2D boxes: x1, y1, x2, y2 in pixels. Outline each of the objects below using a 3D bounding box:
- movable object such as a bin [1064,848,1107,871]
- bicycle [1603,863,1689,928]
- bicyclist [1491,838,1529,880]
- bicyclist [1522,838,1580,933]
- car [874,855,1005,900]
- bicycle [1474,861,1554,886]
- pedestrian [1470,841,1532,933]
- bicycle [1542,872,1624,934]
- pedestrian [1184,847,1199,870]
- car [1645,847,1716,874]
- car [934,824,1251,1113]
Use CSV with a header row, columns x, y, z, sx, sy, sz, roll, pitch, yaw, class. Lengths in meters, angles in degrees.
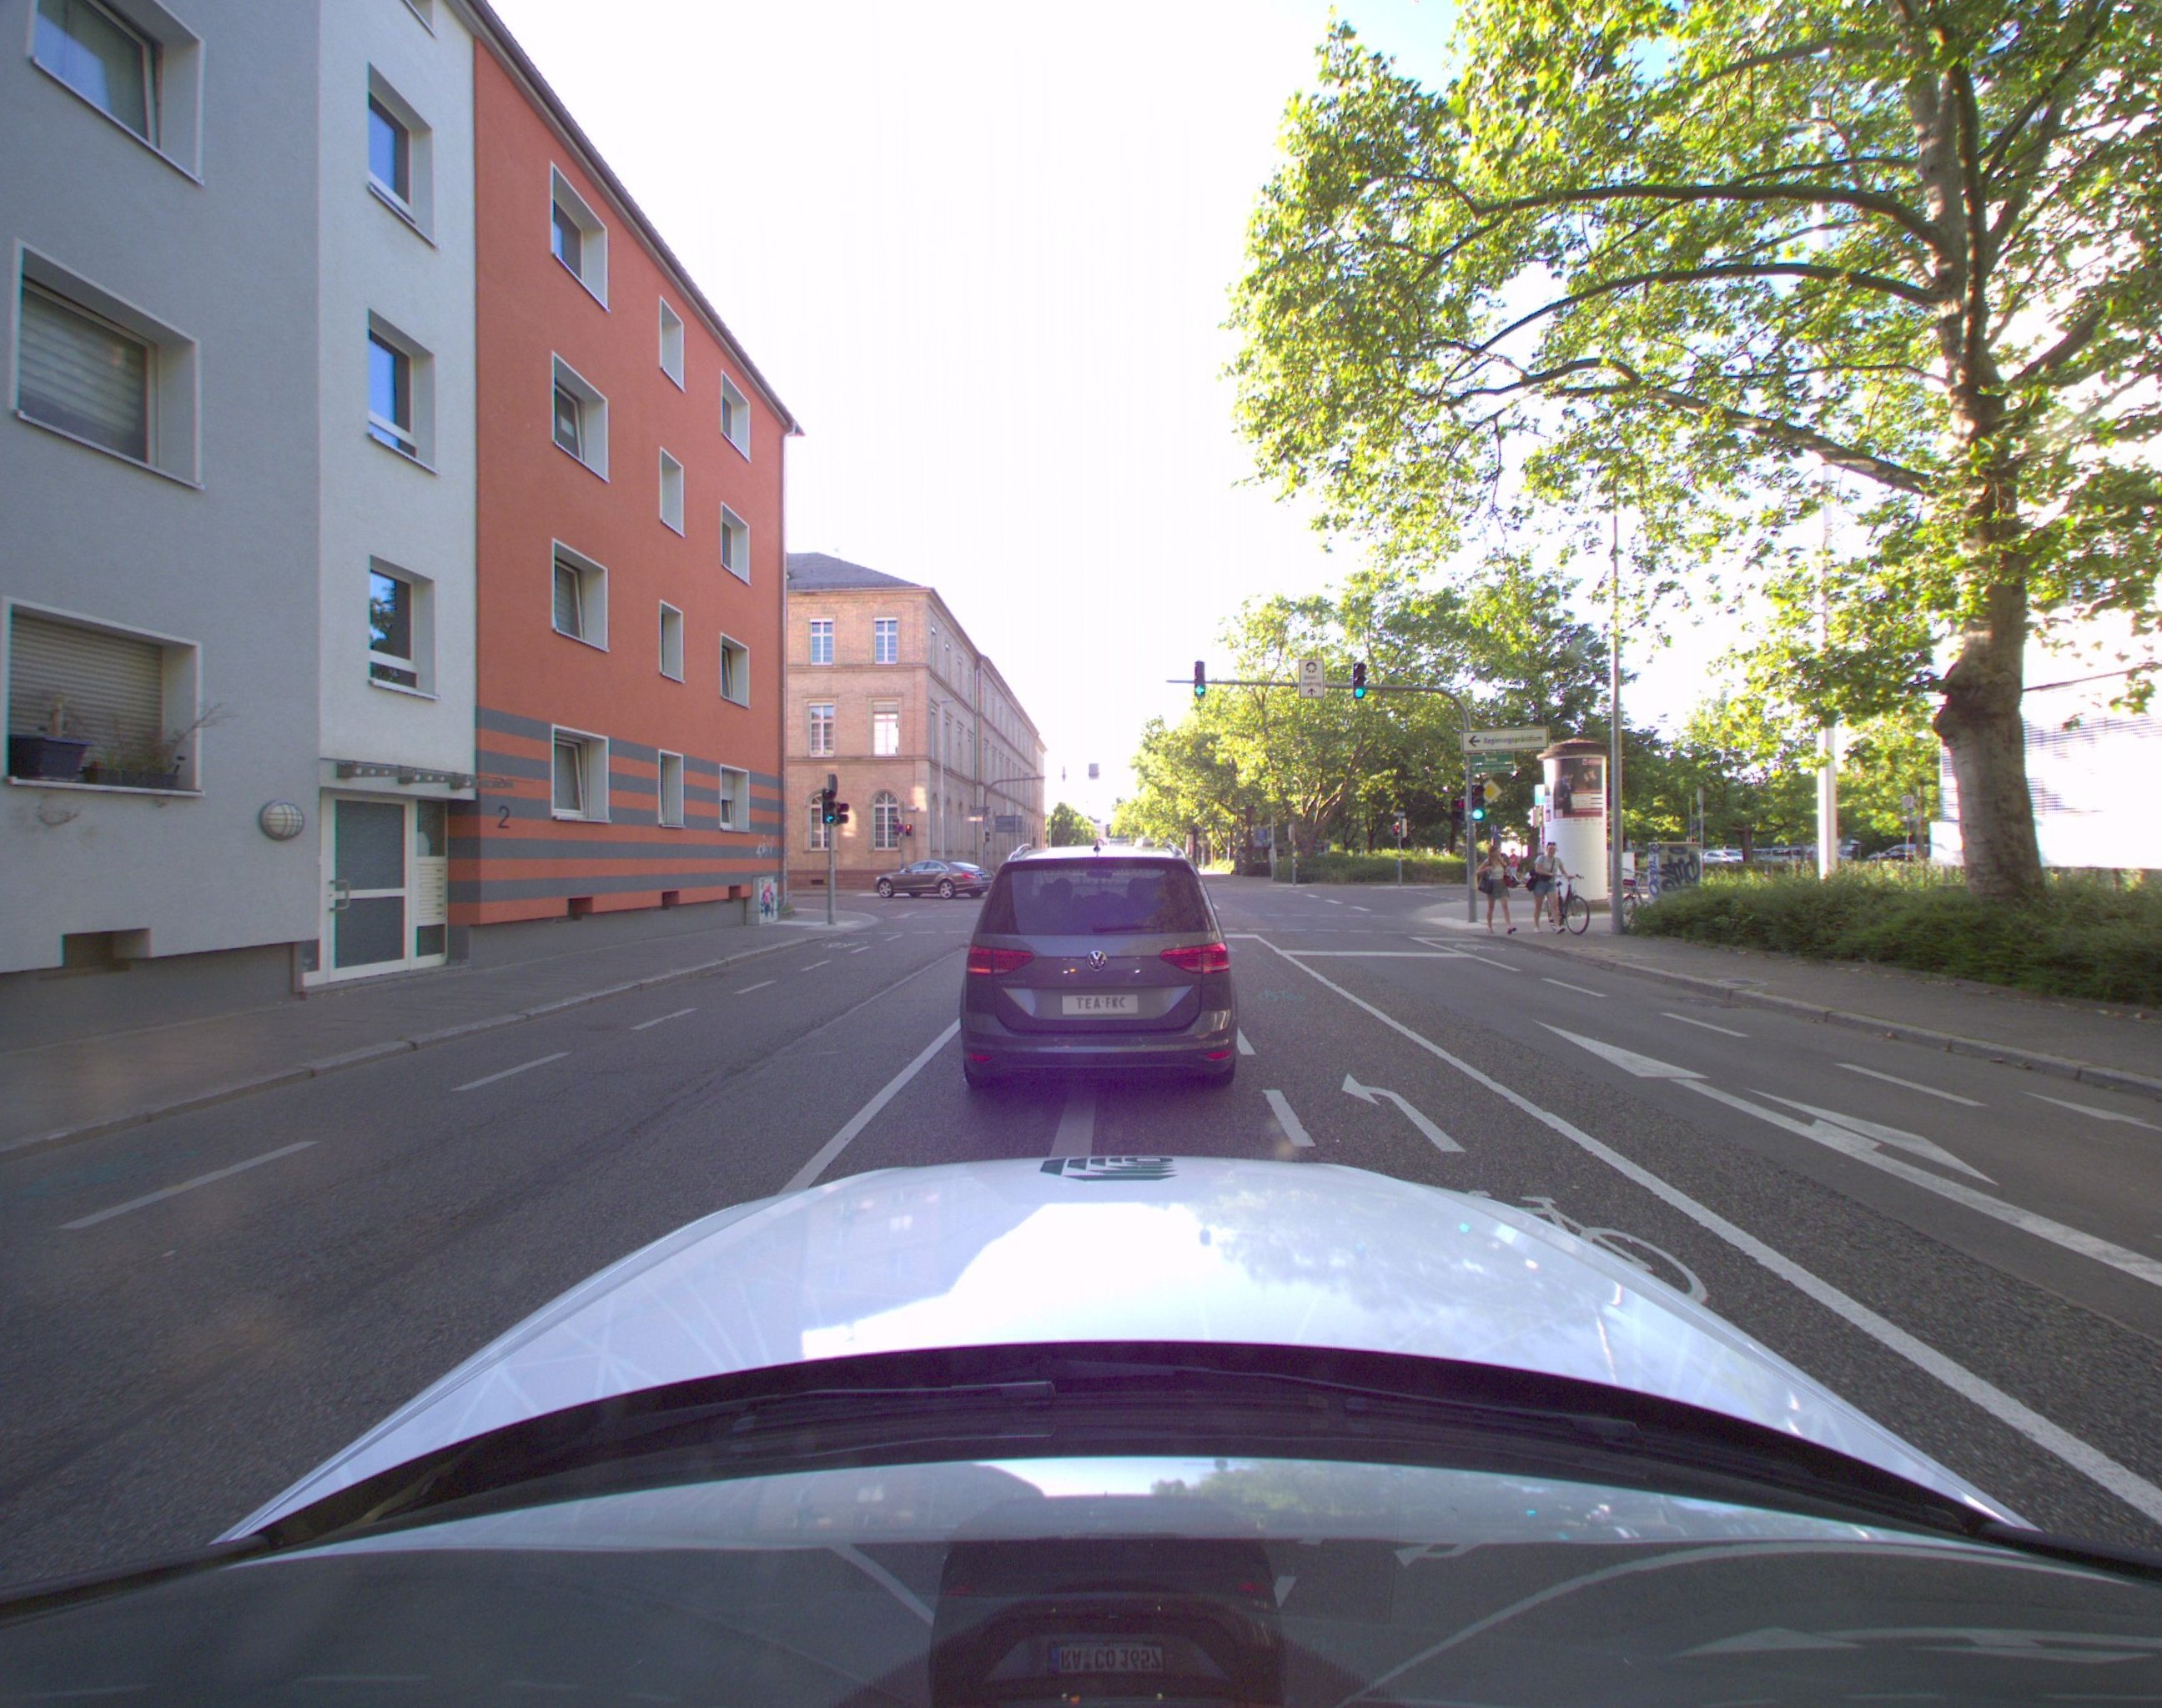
x,y,z,sx,sy,sz,roll,pitch,yaw,class
0.512,0.671,97.586,4.782,2.777,2.488,-1,-1,45,movable object such as a bin
10.916,0.775,15.715,1.998,1.182,0.466,-1,-1,-28,bicycle
18.726,0.222,35.563,1.124,1.808,0.978,0,-1,0,bicyclist
8.843,0.581,15.345,0.630,1.713,0.655,-3,-1,1,bicyclist
-5.191,0.806,29.727,4.451,1.529,1.941,-1,0,29,car
18.897,0.854,35.574,2.987,1.038,0.942,0,-1,-1,bicycle
8.121,0.640,15.780,0.771,1.719,0.692,-2,-2,1,pedestrian
9.161,0.867,14.929,0.519,1.035,1.648,0,-1,2,bicycle
12.581,0.532,92.970,1.417,2.667,1.146,0,-1,-6,pedestrian
40.671,0.429,55.392,1.985,1.779,4.002,0,-1,2,car
0.158,0.641,6.548,1.755,1.607,4.003,-1,0,3,car
